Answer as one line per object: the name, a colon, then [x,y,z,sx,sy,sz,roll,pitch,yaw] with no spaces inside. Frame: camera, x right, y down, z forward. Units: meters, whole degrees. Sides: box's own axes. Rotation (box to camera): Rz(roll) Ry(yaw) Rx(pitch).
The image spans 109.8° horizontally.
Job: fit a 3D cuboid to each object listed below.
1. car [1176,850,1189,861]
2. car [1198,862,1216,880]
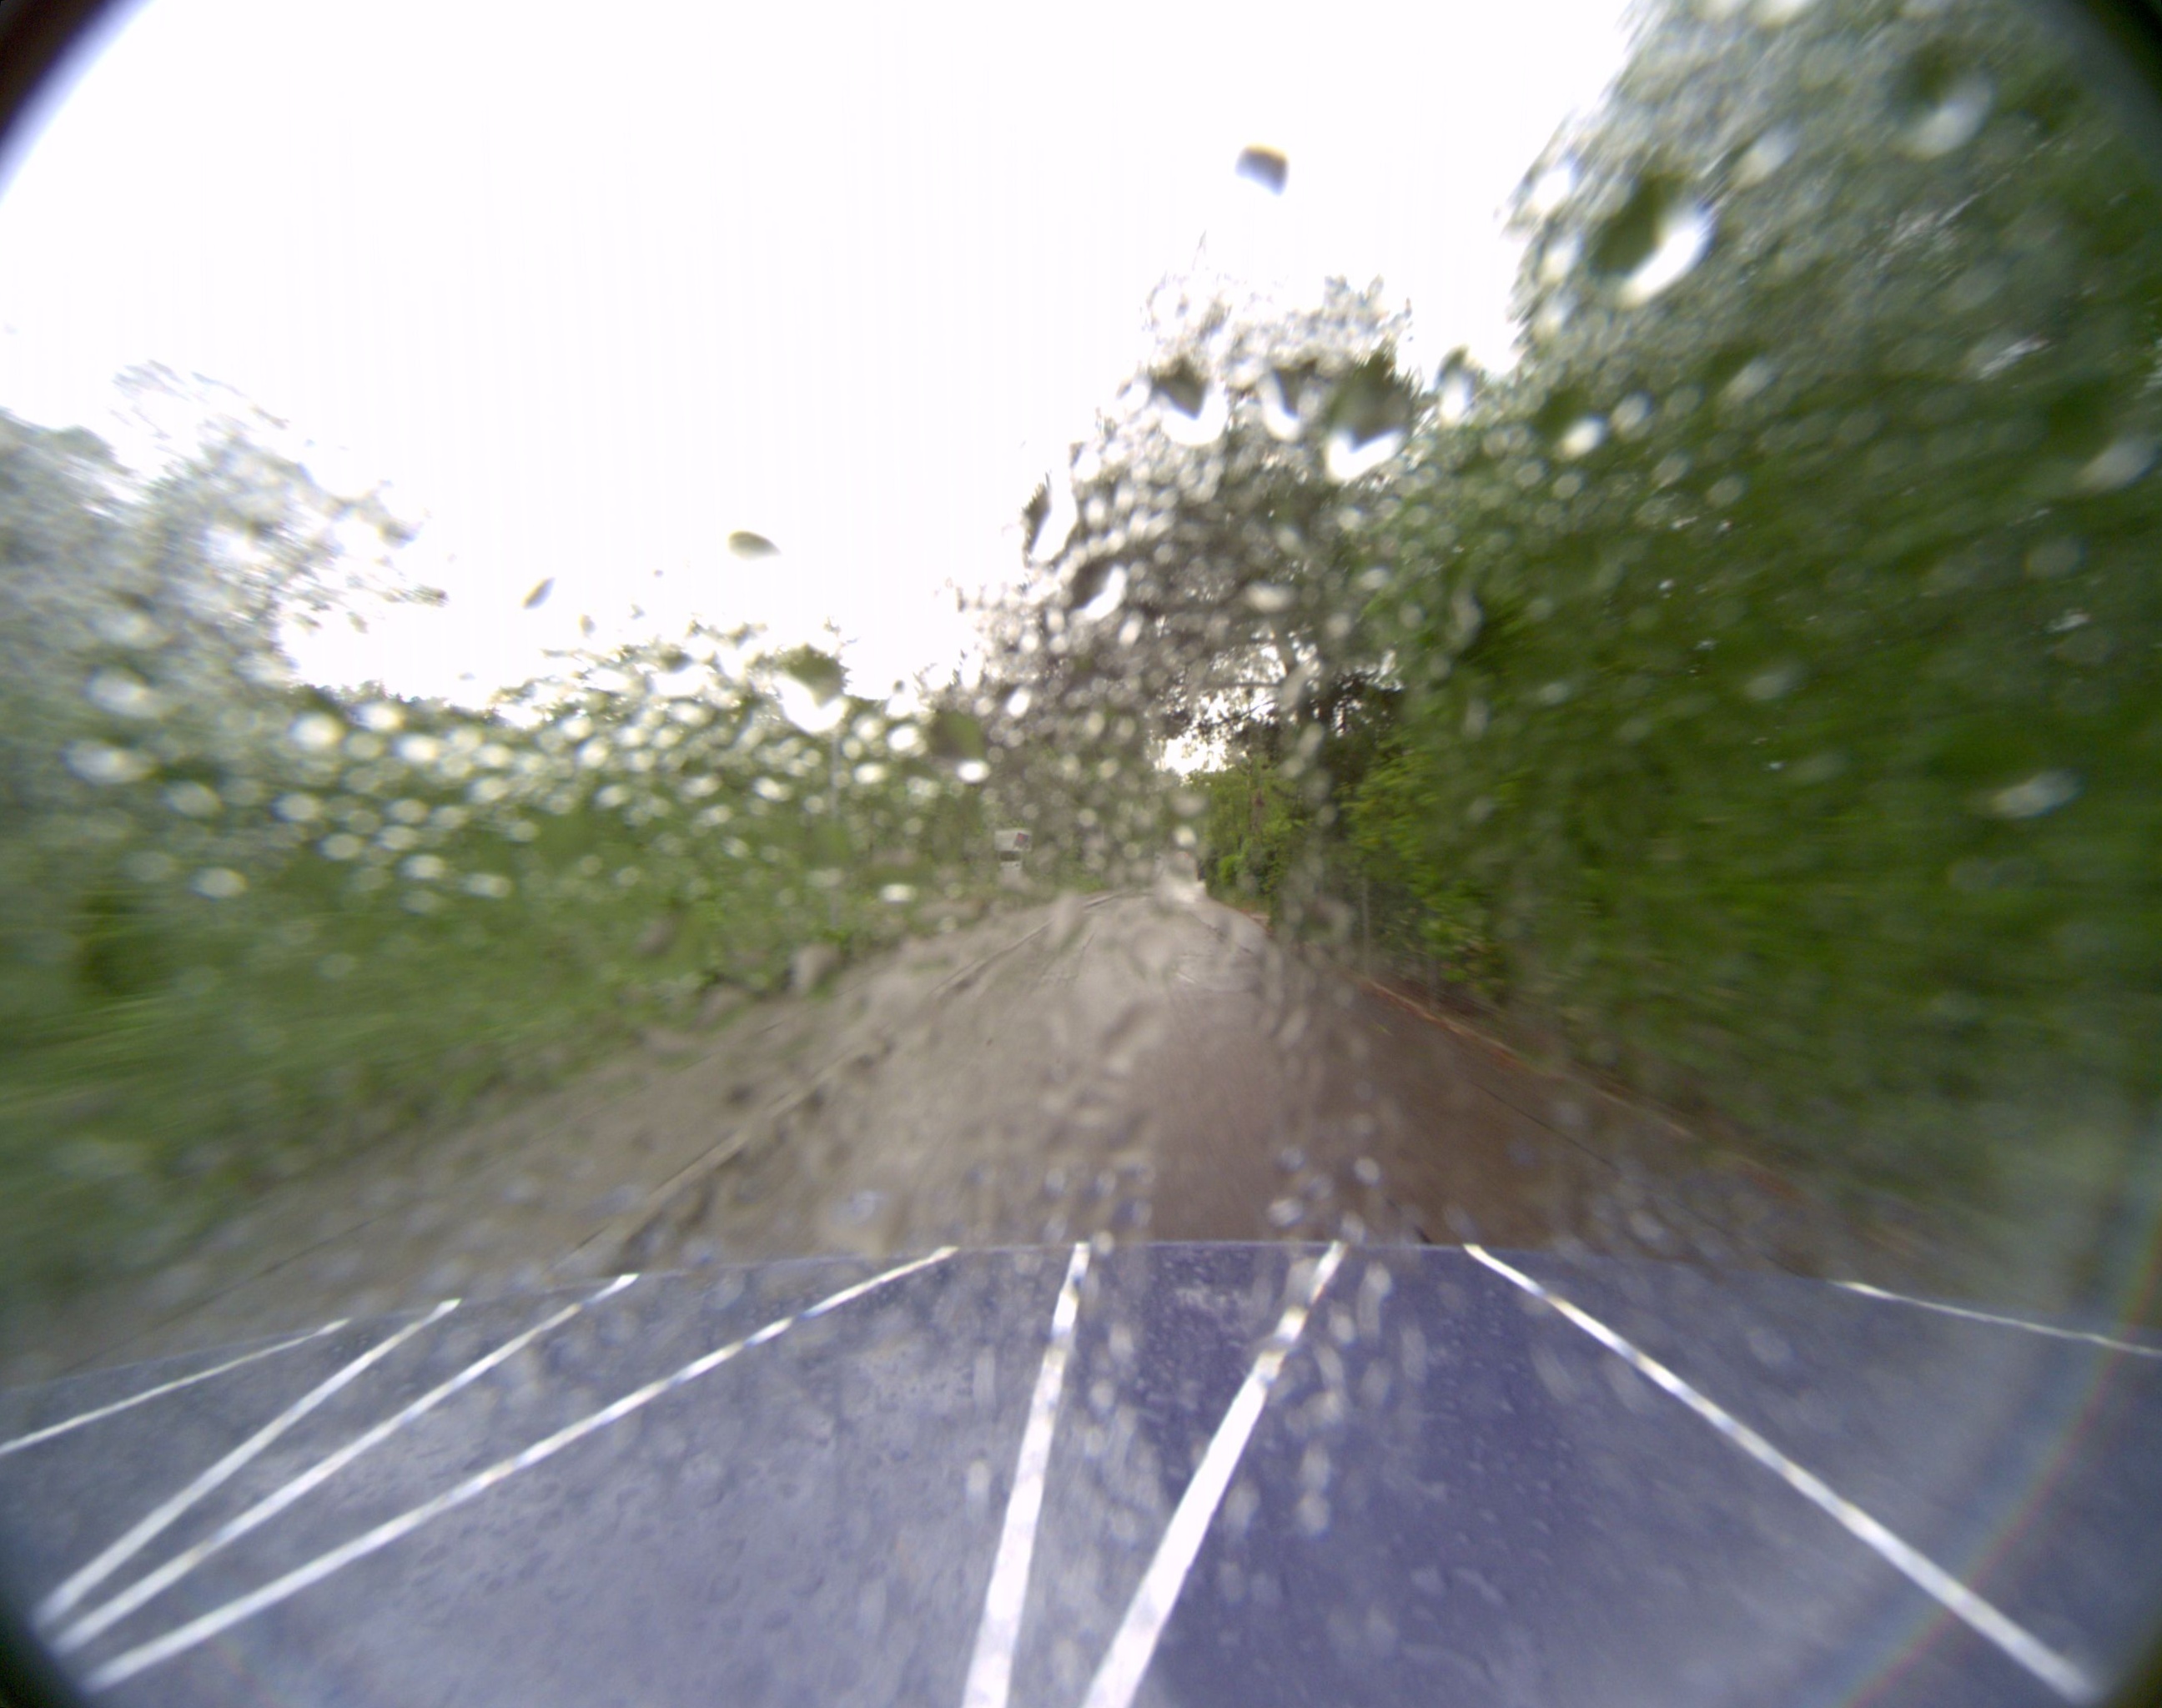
car: [16.649,0.310,124.579,1.927,1.611,4.465,-2,-2,5]
car: [12.948,1.735,77.957,1.688,1.717,4.071,2,0,8]
